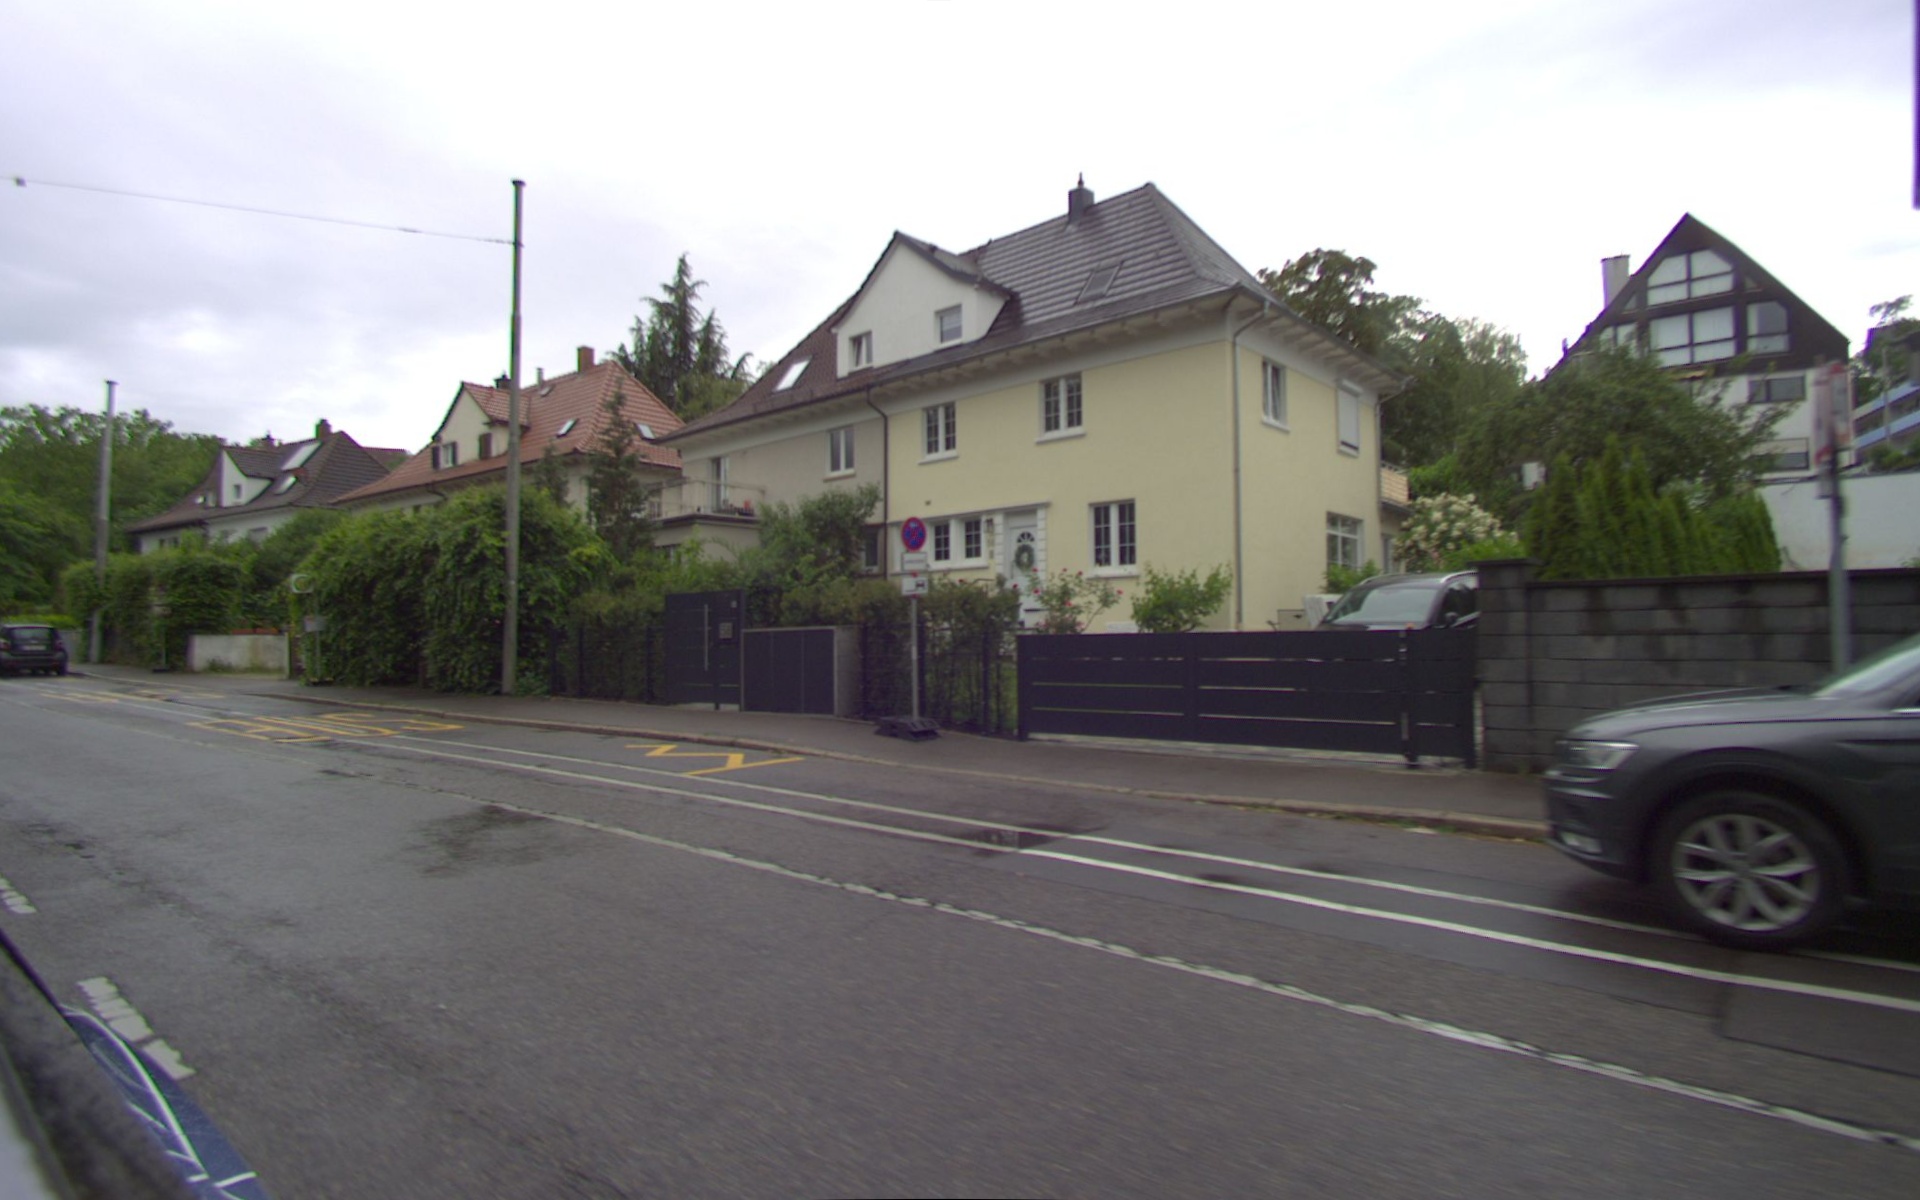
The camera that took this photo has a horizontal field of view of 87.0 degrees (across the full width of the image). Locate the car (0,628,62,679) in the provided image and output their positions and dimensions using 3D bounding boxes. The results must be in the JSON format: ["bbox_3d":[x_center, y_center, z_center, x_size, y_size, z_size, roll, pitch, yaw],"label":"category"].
[{"bbox_3d":[-28.174,1.584,30.171,3.025,1.465,1.505,-2,-4,38],"label":"car"}]

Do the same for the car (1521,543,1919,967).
[{"bbox_3d":[4.966,0.627,4.173,4.400,1.671,1.737,-2,-4,39],"label":"car"}]

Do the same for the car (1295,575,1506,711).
[{"bbox_3d":[6.301,0.478,14.233,1.733,1.608,3.948,0,2,39],"label":"car"}]

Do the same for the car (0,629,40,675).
[{"bbox_3d":[-31.502,1.654,32.693,4.205,1.429,1.673,-2,-4,35],"label":"car"}]
